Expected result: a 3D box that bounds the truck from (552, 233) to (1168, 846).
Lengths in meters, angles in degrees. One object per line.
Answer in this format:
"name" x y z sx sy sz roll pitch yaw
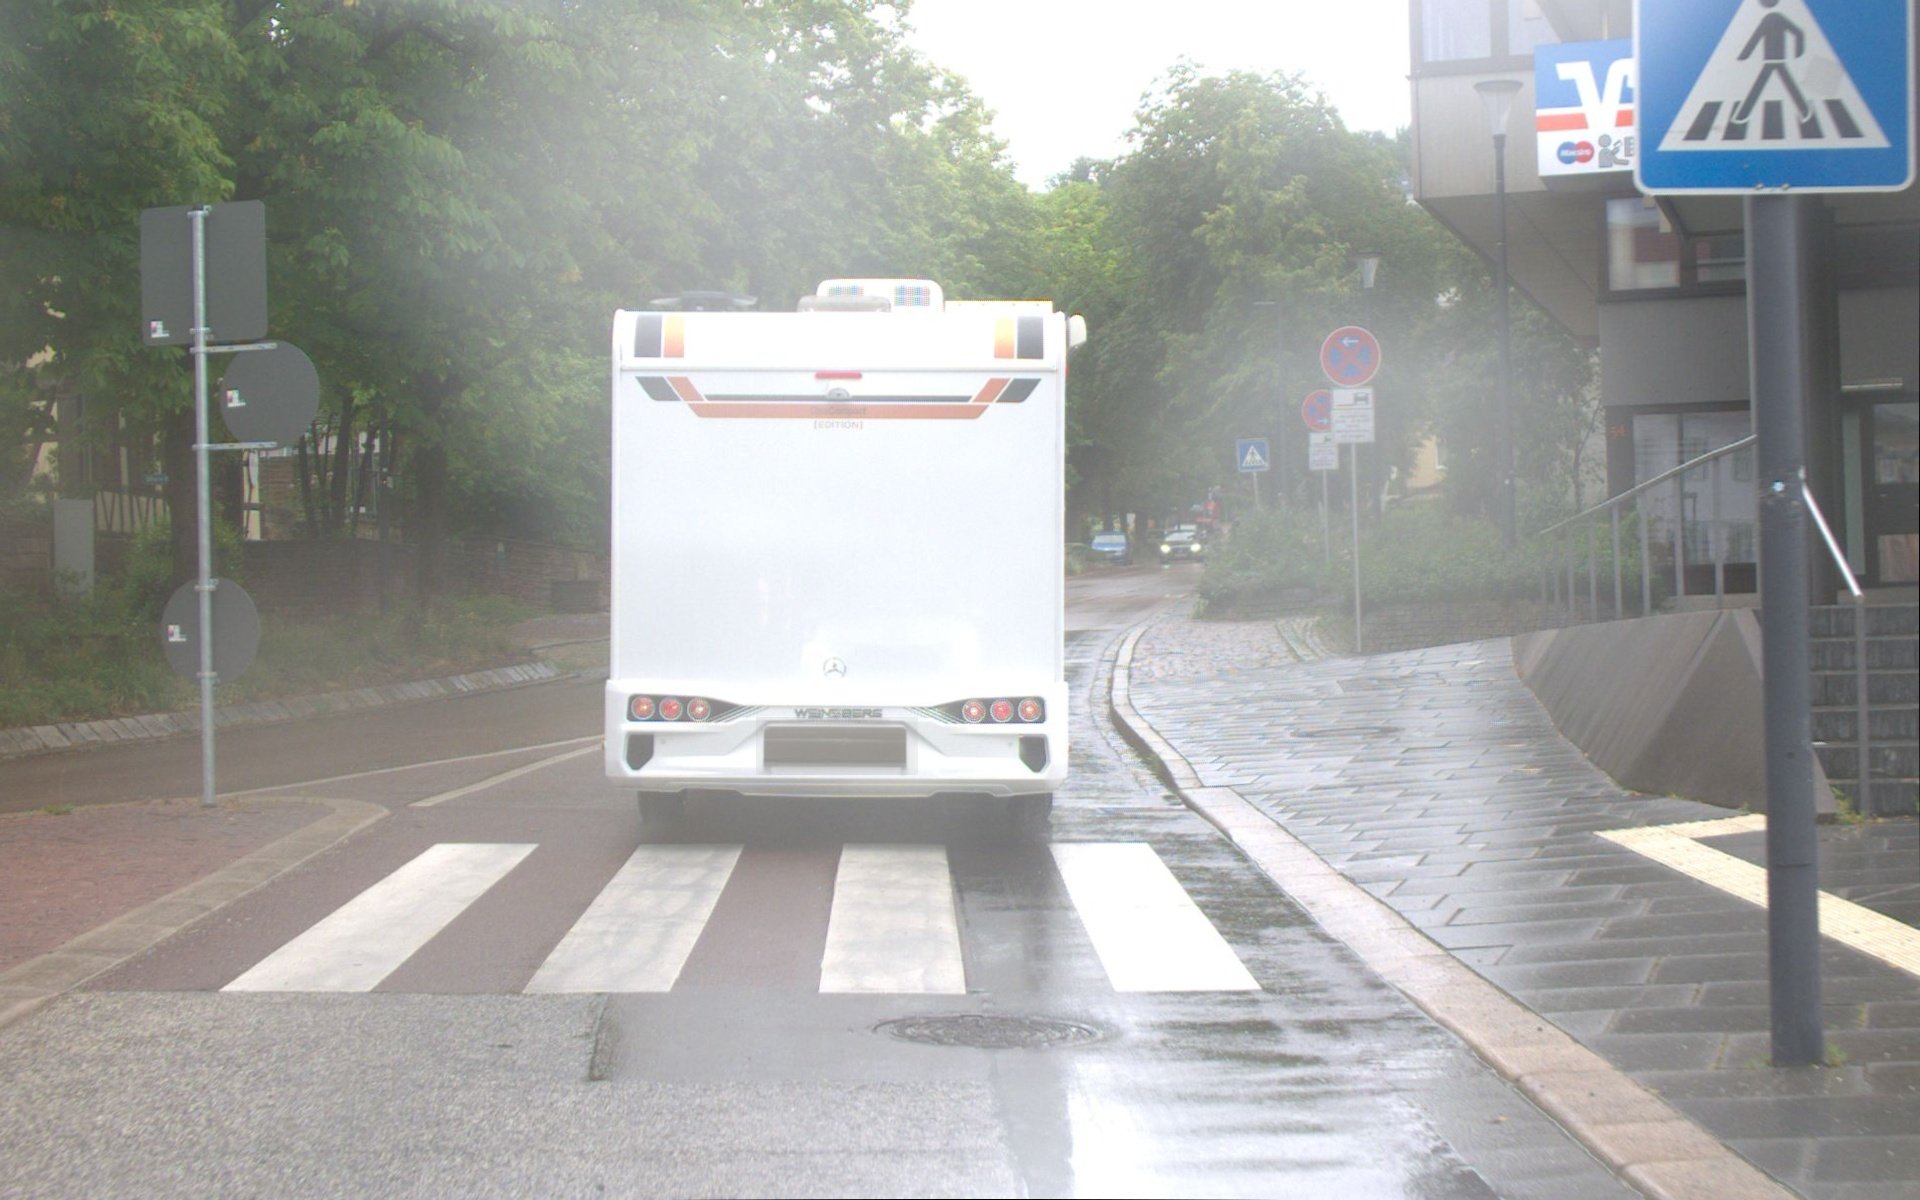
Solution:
"truck" -0.491 -0.268 19.345 2.805 2.787 6.107 -2 0 0
